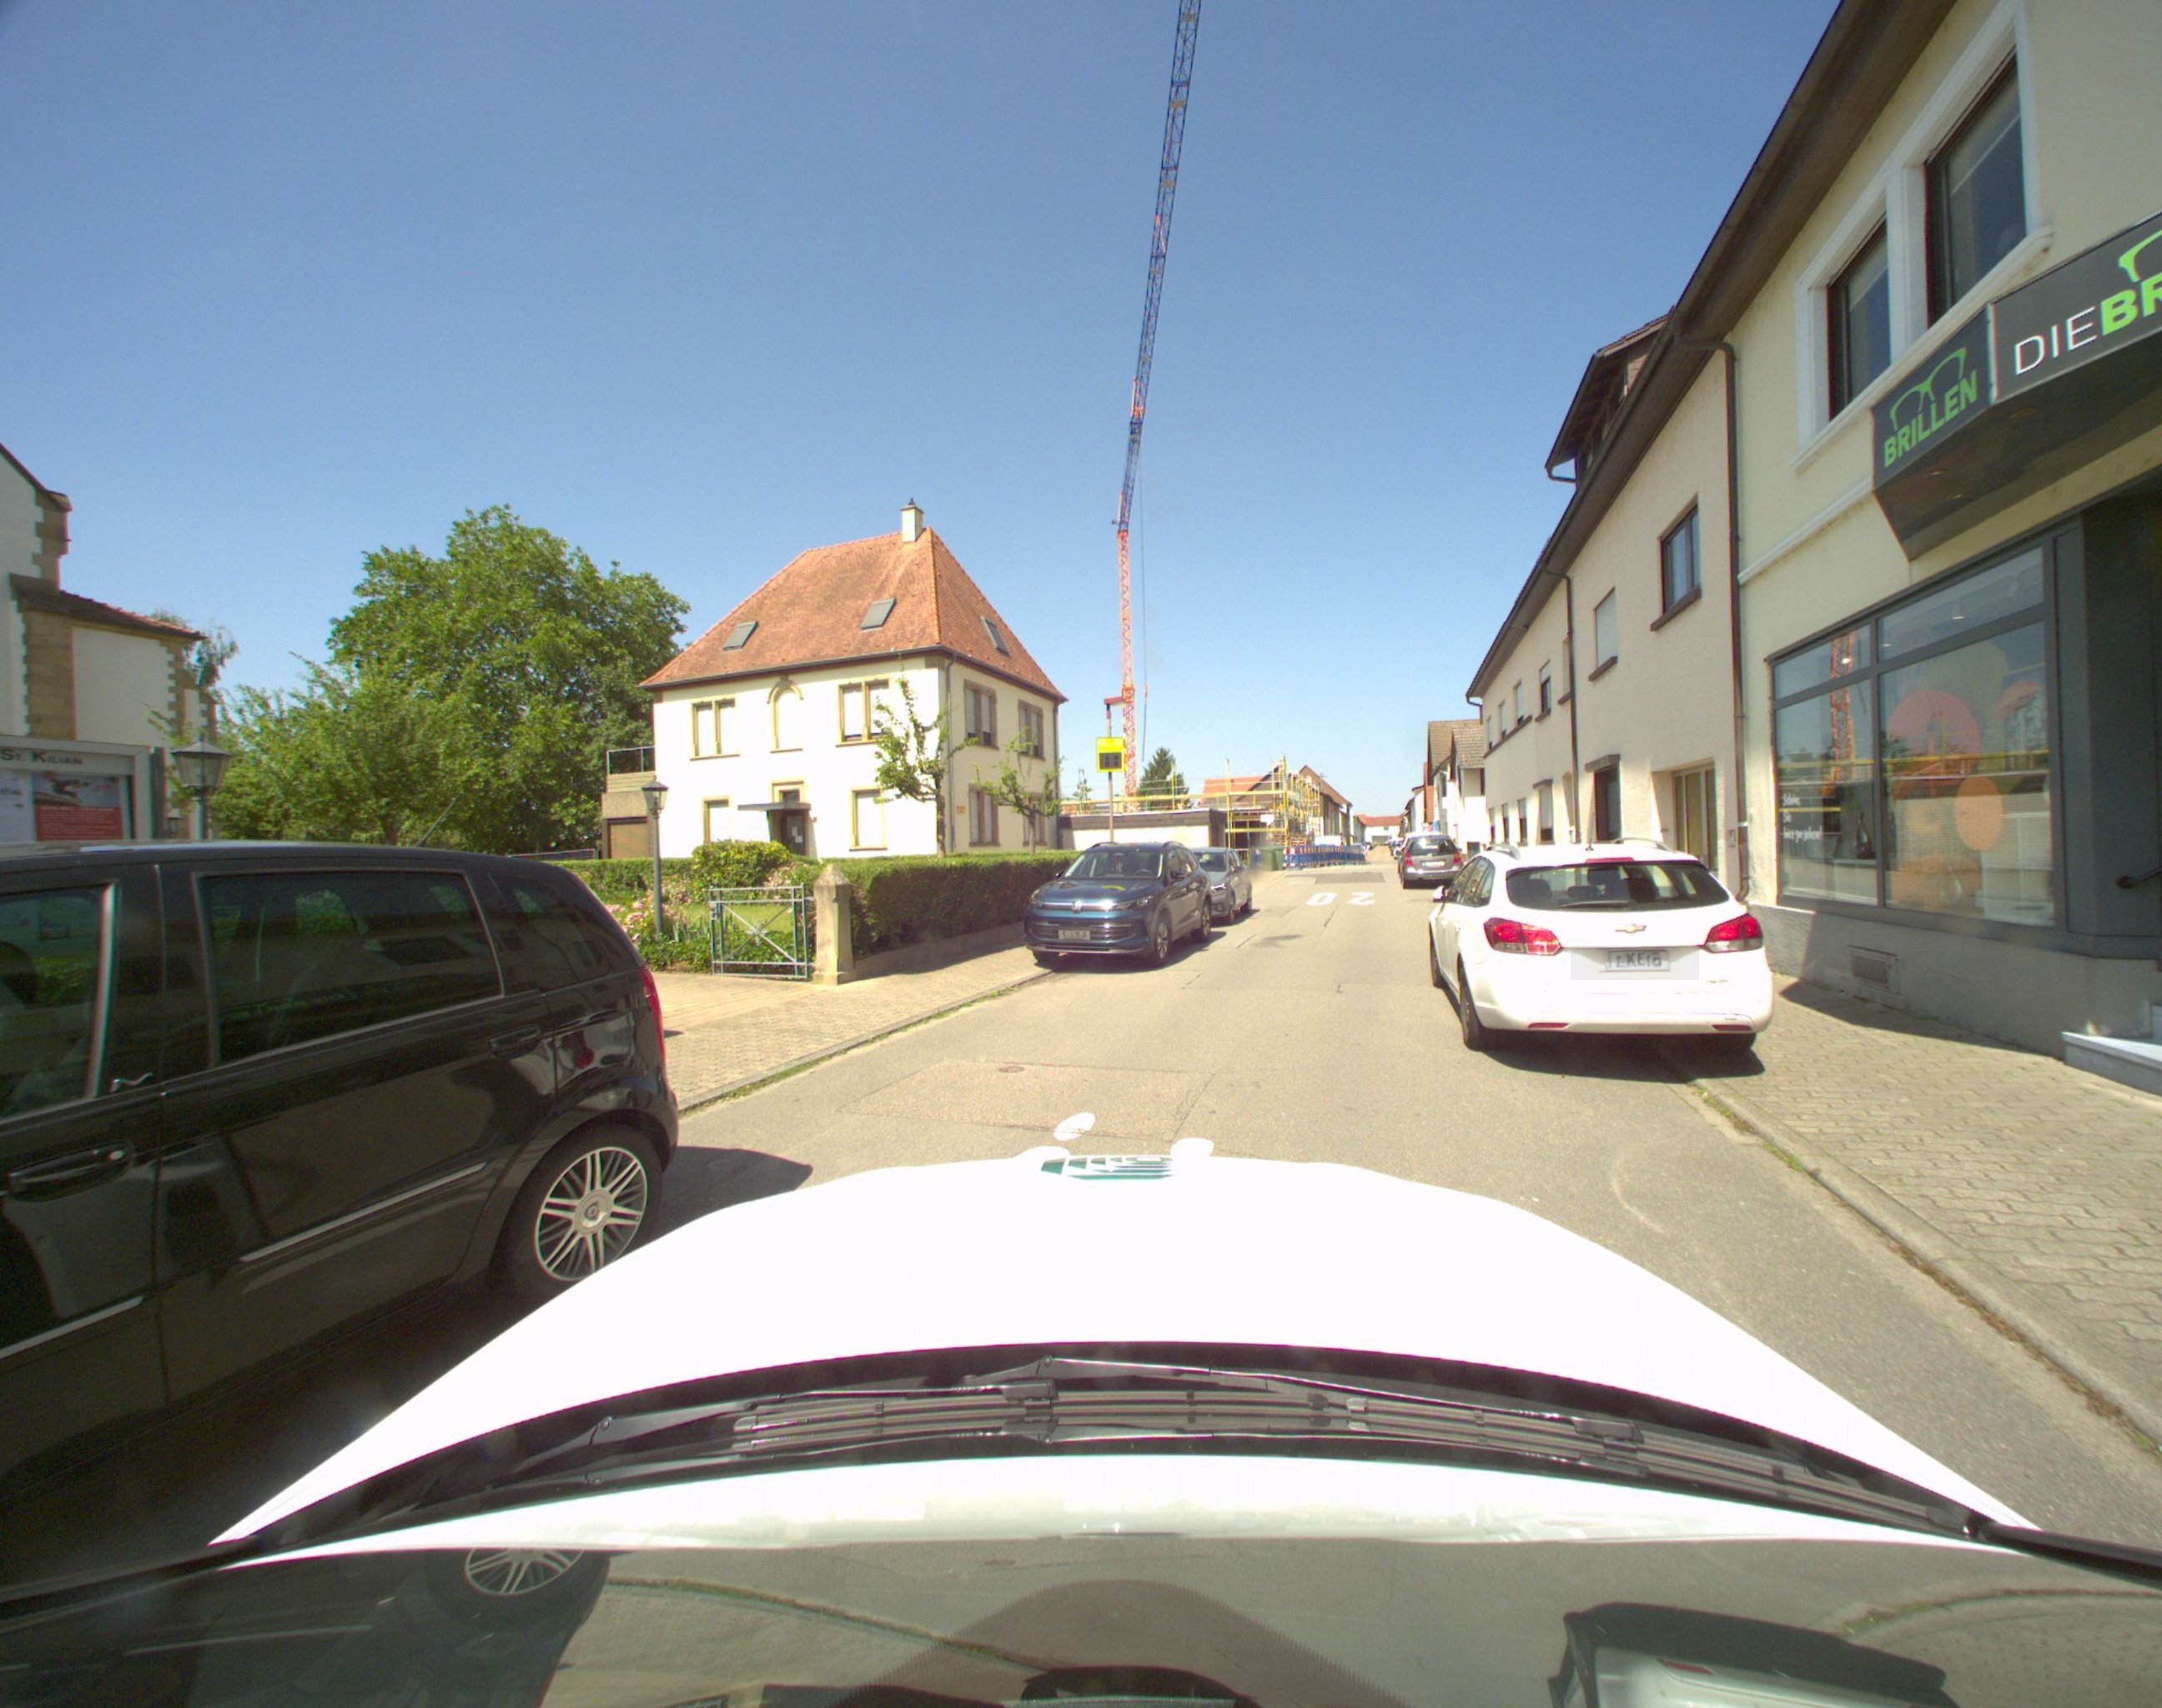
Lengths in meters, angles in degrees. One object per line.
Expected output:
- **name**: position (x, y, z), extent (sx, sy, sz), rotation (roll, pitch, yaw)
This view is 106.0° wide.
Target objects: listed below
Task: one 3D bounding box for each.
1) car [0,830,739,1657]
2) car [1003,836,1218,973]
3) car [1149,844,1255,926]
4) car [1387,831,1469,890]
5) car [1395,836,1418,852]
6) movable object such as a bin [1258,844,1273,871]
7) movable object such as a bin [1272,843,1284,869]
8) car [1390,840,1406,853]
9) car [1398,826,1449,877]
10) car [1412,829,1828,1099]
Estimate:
- **car**: position (-2.905, 0.799, 1.946), extent (1.624, 1.628, 3.788), rotation (-2, 1, 20)
- **car**: position (0.656, 0.602, 12.097), extent (1.810, 1.630, 4.240), rotation (-2, 0, 21)
- **car**: position (2.652, 0.573, 17.196), extent (1.424, 1.474, 3.805), rotation (-3, 0, 20)
- **car**: position (10.816, 0.143, 25.636), extent (1.869, 1.556, 3.913), rotation (-6, 0, 18)
- **car**: position (31.820, -0.980, 79.662), extent (1.951, 1.387, 4.022), rotation (-2, 1, 22)
- **movable object such as a bin**: position (8.109, 0.152, 35.784), extent (0.617, 1.155, 0.680), rotation (-3, 1, 14)
- **movable object such as a bin**: position (8.717, 0.084, 36.067), extent (0.428, 1.155, 0.366), rotation (-3, 0, 11)
- **car**: position (36.525, -0.861, 93.793), extent (1.542, 1.387, 3.468), rotation (-2, 1, 19)
- **car**: position (12.759, -0.131, 30.478), extent (1.551, 1.612, 3.562), rotation (-2, 3, 20)
- **car**: position (4.009, 0.615, 6.944), extent (1.871, 1.542, 4.263), rotation (-2, 0, 19)
